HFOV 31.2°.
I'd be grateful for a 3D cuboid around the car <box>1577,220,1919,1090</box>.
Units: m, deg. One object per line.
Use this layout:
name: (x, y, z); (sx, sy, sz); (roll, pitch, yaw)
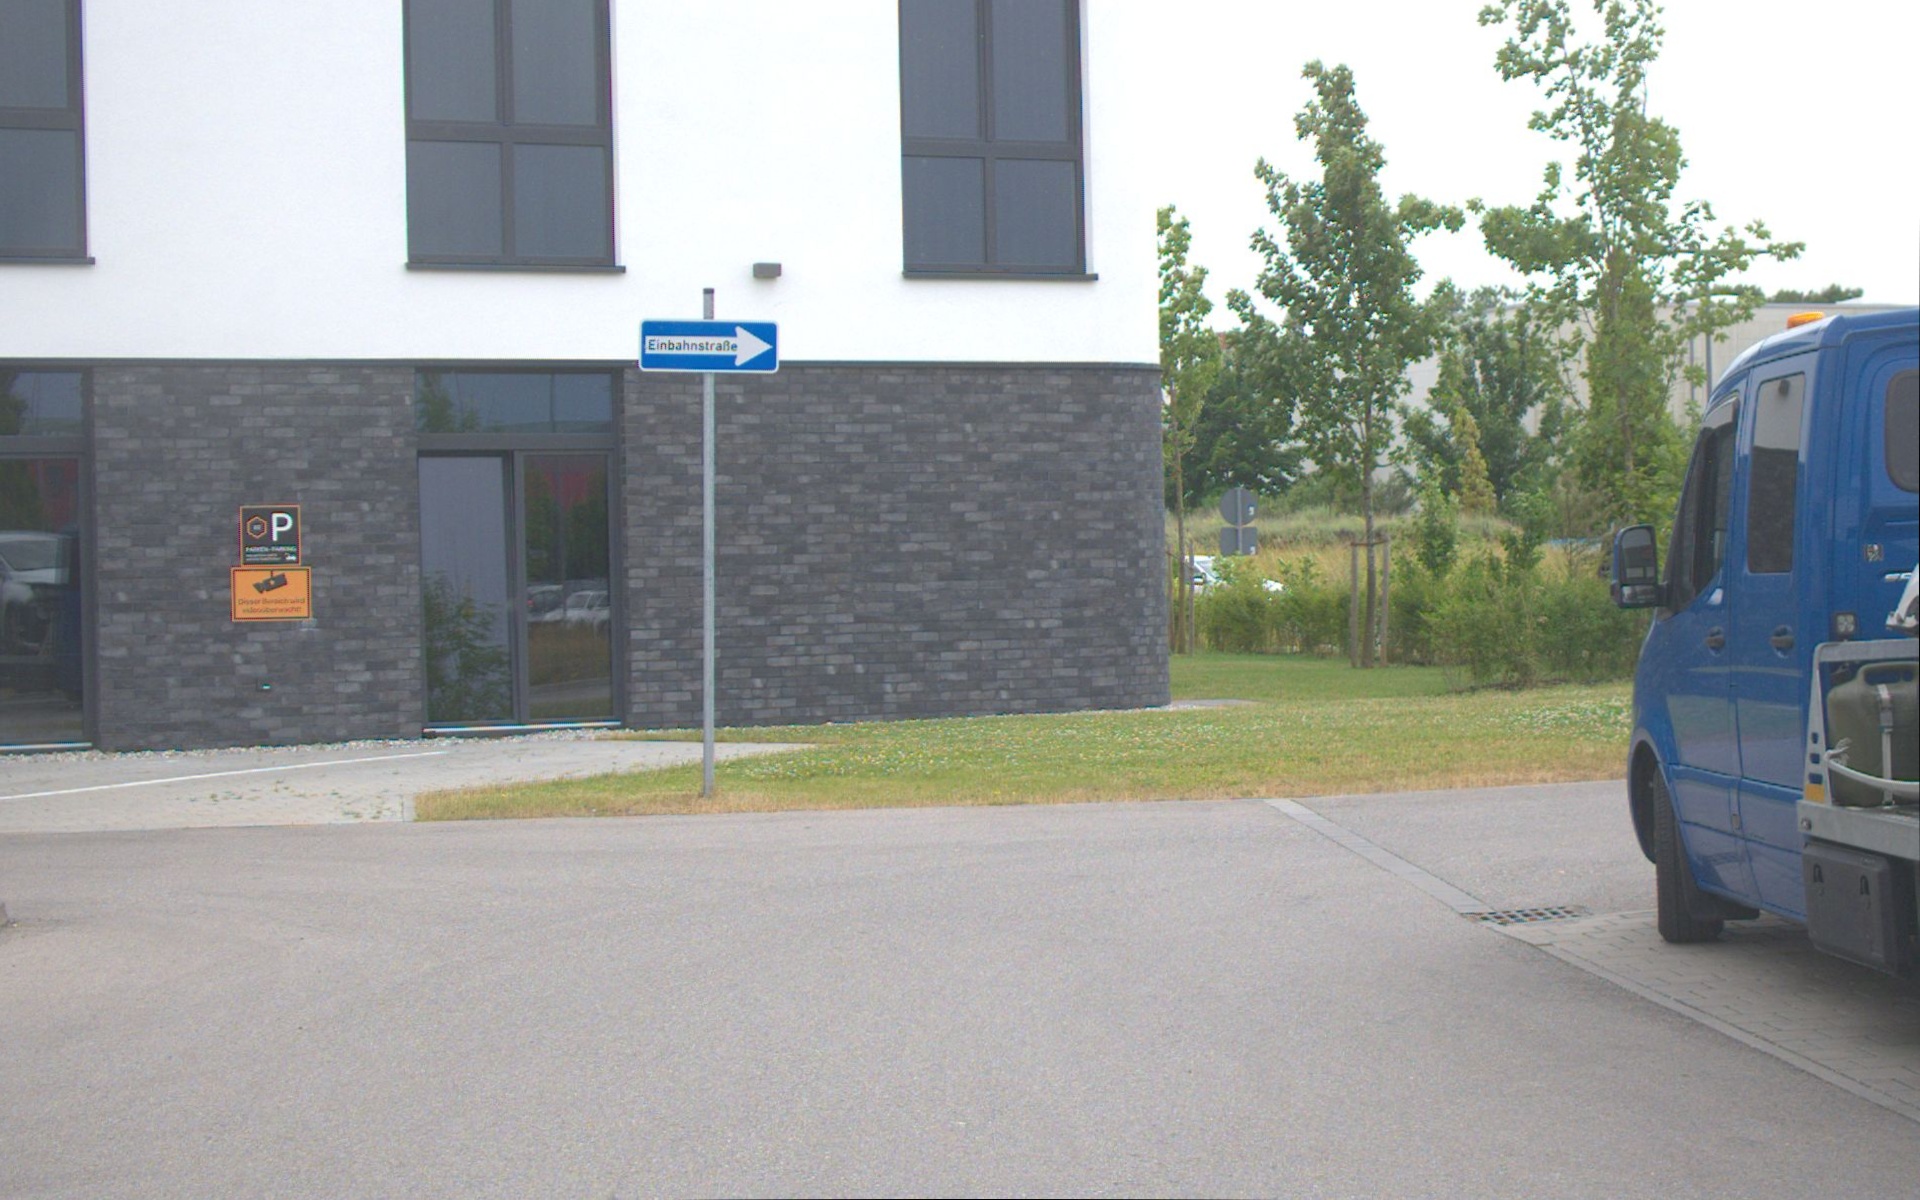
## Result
car: (3.642, 0.128, 10.056); (2.194, 2.315, 7.857); (-1, 1, 0)
